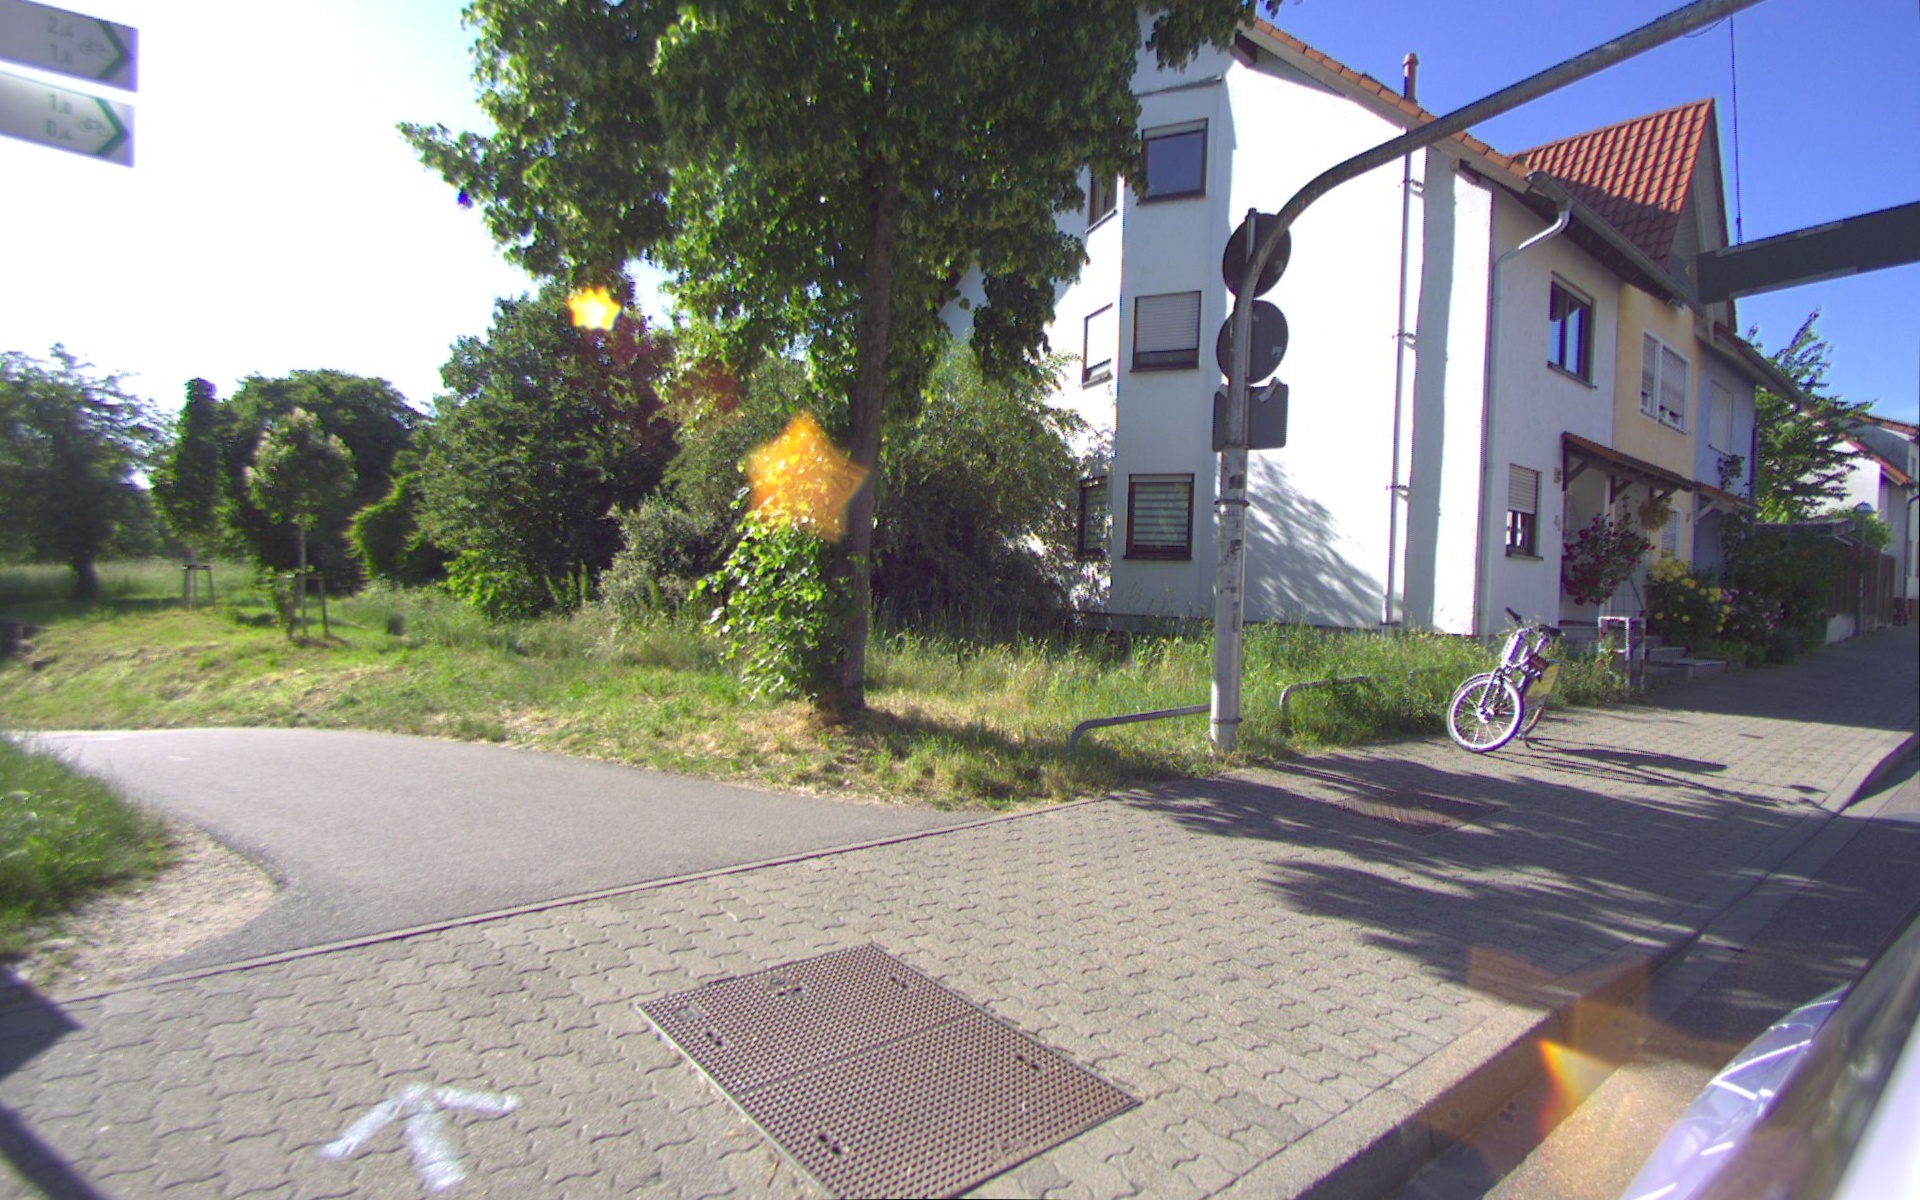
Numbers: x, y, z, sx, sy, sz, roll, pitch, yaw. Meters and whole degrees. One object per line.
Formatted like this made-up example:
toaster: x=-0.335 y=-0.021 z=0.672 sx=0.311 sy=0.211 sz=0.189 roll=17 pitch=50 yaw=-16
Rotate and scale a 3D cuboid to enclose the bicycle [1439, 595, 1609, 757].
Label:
bicycle: x=4.756 y=0.582 z=8.506 sx=1.513 sy=1.170 sz=0.690 roll=0 pitch=6 yaw=-42
